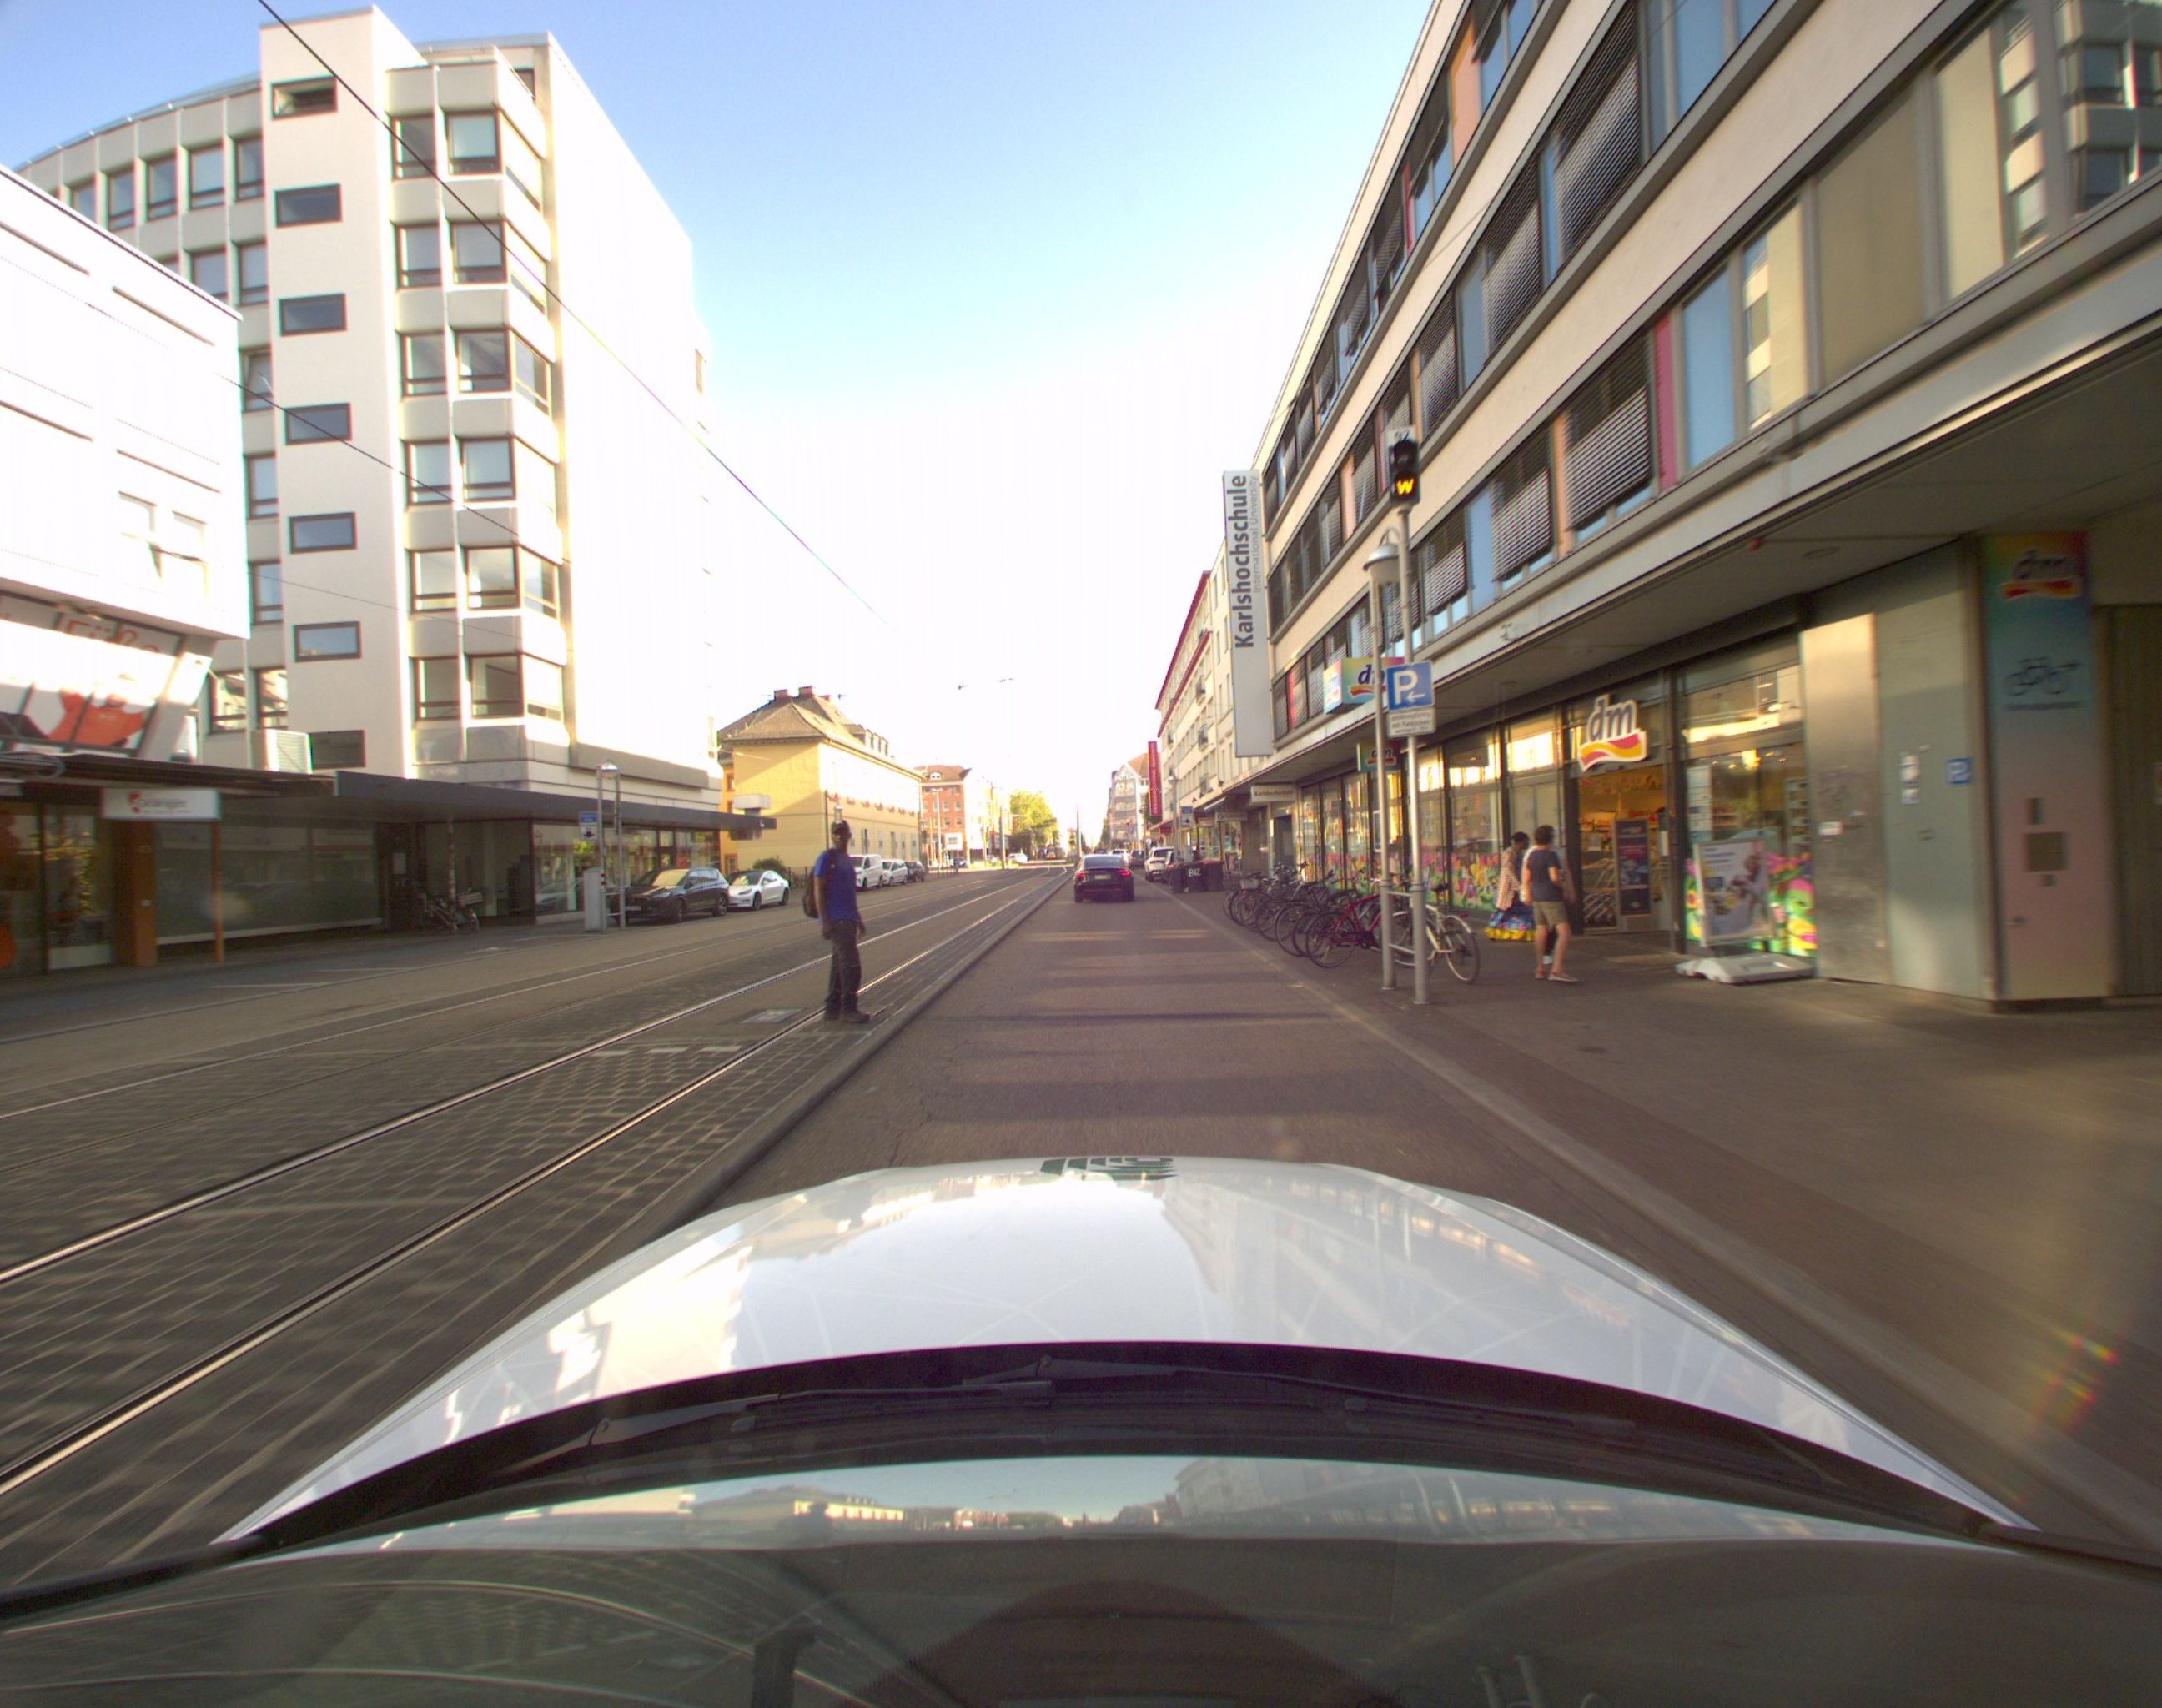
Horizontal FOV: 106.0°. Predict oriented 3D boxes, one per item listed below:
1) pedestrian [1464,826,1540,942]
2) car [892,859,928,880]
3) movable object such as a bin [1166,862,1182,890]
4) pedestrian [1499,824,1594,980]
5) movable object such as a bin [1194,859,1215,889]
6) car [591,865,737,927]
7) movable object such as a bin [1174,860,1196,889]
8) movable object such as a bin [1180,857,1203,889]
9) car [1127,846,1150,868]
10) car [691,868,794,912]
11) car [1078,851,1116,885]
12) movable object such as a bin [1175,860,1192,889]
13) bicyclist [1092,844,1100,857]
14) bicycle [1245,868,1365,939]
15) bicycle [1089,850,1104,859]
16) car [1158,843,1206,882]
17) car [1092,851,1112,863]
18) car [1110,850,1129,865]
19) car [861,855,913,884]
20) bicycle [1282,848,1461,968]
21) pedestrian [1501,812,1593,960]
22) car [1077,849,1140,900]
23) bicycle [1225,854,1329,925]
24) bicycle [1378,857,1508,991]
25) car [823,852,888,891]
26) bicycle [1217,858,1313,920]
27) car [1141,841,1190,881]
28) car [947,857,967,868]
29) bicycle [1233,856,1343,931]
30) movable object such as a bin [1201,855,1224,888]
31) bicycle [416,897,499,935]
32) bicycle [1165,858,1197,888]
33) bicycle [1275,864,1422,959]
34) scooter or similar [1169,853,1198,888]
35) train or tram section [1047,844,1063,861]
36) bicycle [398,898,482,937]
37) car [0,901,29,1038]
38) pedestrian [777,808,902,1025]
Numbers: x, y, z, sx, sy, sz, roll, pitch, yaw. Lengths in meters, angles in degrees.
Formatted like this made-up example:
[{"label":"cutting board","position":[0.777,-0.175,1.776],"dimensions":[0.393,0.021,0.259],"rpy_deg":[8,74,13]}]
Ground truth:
[{"label":"pedestrian","position":[5.715,0.399,11.062],"dimensions":[0.585,1.486,0.591],"rpy_deg":[-4,0,-30]},{"label":"car","position":[-11.714,1.038,55.969],"dimensions":[1.608,1.400,3.720],"rpy_deg":[0,0,1]},{"label":"movable object such as a bin","position":[3.289,0.779,28.758],"dimensions":[0.485,0.958,0.458],"rpy_deg":[-3,0,4]},{"label":"pedestrian","position":[4.720,0.476,8.292],"dimensions":[0.522,1.493,0.583],"rpy_deg":[-4,0,0]},{"label":"movable object such as a bin","position":[4.463,0.715,29.377],"dimensions":[0.655,1.014,0.637],"rpy_deg":[-3,0,4]},{"label":"car","position":[-12.594,1.208,25.022],"dimensions":[1.971,1.678,4.657],"rpy_deg":[0,0,2]},{"label":"movable object such as a bin","position":[3.745,0.727,29.379],"dimensions":[0.683,1.014,0.508],"rpy_deg":[-3,0,3]},{"label":"movable object such as a bin","position":[3.892,0.656,28.663],"dimensions":[0.687,1.089,0.686],"rpy_deg":[-3,0,4]},{"label":"car","position":[4.785,0.228,68.359],"dimensions":[1.739,1.632,3.650],"rpy_deg":[-4,0,2]},{"label":"car","position":[-12.495,1.288,30.441],"dimensions":[1.882,1.421,4.656],"rpy_deg":[0,0,0]},{"label":"car","position":[0.764,0.618,37.473],"dimensions":[1.647,1.418,4.002],"rpy_deg":[-1,1,2]},{"label":"movable object such as a bin","position":[3.776,0.753,30.104],"dimensions":[0.520,1.014,0.671],"rpy_deg":[-3,0,4]},{"label":"bicyclist","position":[1.778,-0.418,97.335],"dimensions":[0.835,1.500,0.559],"rpy_deg":[0,0,-7]},{"label":"bicycle","position":[3.654,0.800,13.384],"dimensions":[1.767,1.032,0.597],"rpy_deg":[-3,0,0]},{"label":"bicycle","position":[1.838,0.104,97.306],"dimensions":[1.726,1.088,0.676],"rpy_deg":[0,0,-7]},{"label":"car","position":[4.367,0.349,35.683],"dimensions":[1.608,1.528,4.071],"rpy_deg":[-3,0,1]},{"label":"car","position":[2.740,0.442,107.347],"dimensions":[1.825,1.519,4.201],"rpy_deg":[0,0,-11]},{"label":"car","position":[4.216,0.372,89.024],"dimensions":[1.778,1.519,4.215],"rpy_deg":[0,0,-2]},{"label":"car","position":[-11.926,0.908,50.395],"dimensions":[1.800,1.685,4.653],"rpy_deg":[0,0,4]},{"label":"bicycle","position":[3.652,0.654,10.275],"dimensions":[2.035,1.274,0.523],"rpy_deg":[-5,0,-9]},{"label":"pedestrian","position":[5.291,0.354,9.281],"dimensions":[0.579,1.585,0.597],"rpy_deg":[-4,0,-1]},{"label":"car","position":[0.817,0.609,25.892],"dimensions":[1.843,1.484,3.787],"rpy_deg":[-1,0,0]},{"label":"bicycle","position":[3.737,0.666,15.602],"dimensions":[1.781,1.217,0.669],"rpy_deg":[-3,0,0]},{"label":"bicycle","position":[3.816,0.680,8.728],"dimensions":[0.579,1.257,1.601],"rpy_deg":[-4,0,0]},{"label":"car","position":[-12.119,0.901,44.091],"dimensions":[1.986,1.975,5.097],"rpy_deg":[0,0,1]},{"label":"bicycle","position":[3.793,0.707,16.891],"dimensions":[1.781,1.159,0.669],"rpy_deg":[-3,0,0]},{"label":"car","position":[4.153,0.325,40.682],"dimensions":[1.843,1.724,5.193],"rpy_deg":[-4,0,1]},{"label":"car","position":[-16.847,1.159,110.958],"dimensions":[1.895,1.464,4.003],"rpy_deg":[0,0,3]},{"label":"bicycle","position":[3.730,0.705,14.750],"dimensions":[1.781,1.217,0.587],"rpy_deg":[-3,0,0]},{"label":"movable object such as a bin","position":[4.628,0.614,28.648],"dimensions":[0.687,1.089,0.666],"rpy_deg":[-3,0,4]},{"label":"bicycle","position":[-16.690,1.655,21.816],"dimensions":[1.929,0.999,0.424],"rpy_deg":[0,0,2]},{"label":"bicycle","position":[3.843,0.716,31.256],"dimensions":[1.127,1.079,0.320],"rpy_deg":[-4,0,-1]},{"label":"bicycle","position":[3.568,0.756,10.900],"dimensions":[1.770,1.130,0.478],"rpy_deg":[-3,0,-5]},{"label":"scooter or similar","position":[3.867,0.628,30.708],"dimensions":[0.989,1.231,0.320],"rpy_deg":[-4,0,-1]},{"label":"train or tram section","position":[-6.017,-0.260,188.307],"dimensions":[2.664,3.715,14.198],"rpy_deg":[-1,0,2]},{"label":"bicycle","position":[-16.828,1.661,21.395],"dimensions":[1.929,0.999,0.381],"rpy_deg":[0,0,2]},{"label":"car","position":[-12.906,1.298,7.573],"dimensions":[1.596,1.523,3.587],"rpy_deg":[0,0,-1]},{"label":"pedestrian","position":[-2.190,0.544,7.473],"dimensions":[0.801,1.837,0.746],"rpy_deg":[-4,0,-1]}]
